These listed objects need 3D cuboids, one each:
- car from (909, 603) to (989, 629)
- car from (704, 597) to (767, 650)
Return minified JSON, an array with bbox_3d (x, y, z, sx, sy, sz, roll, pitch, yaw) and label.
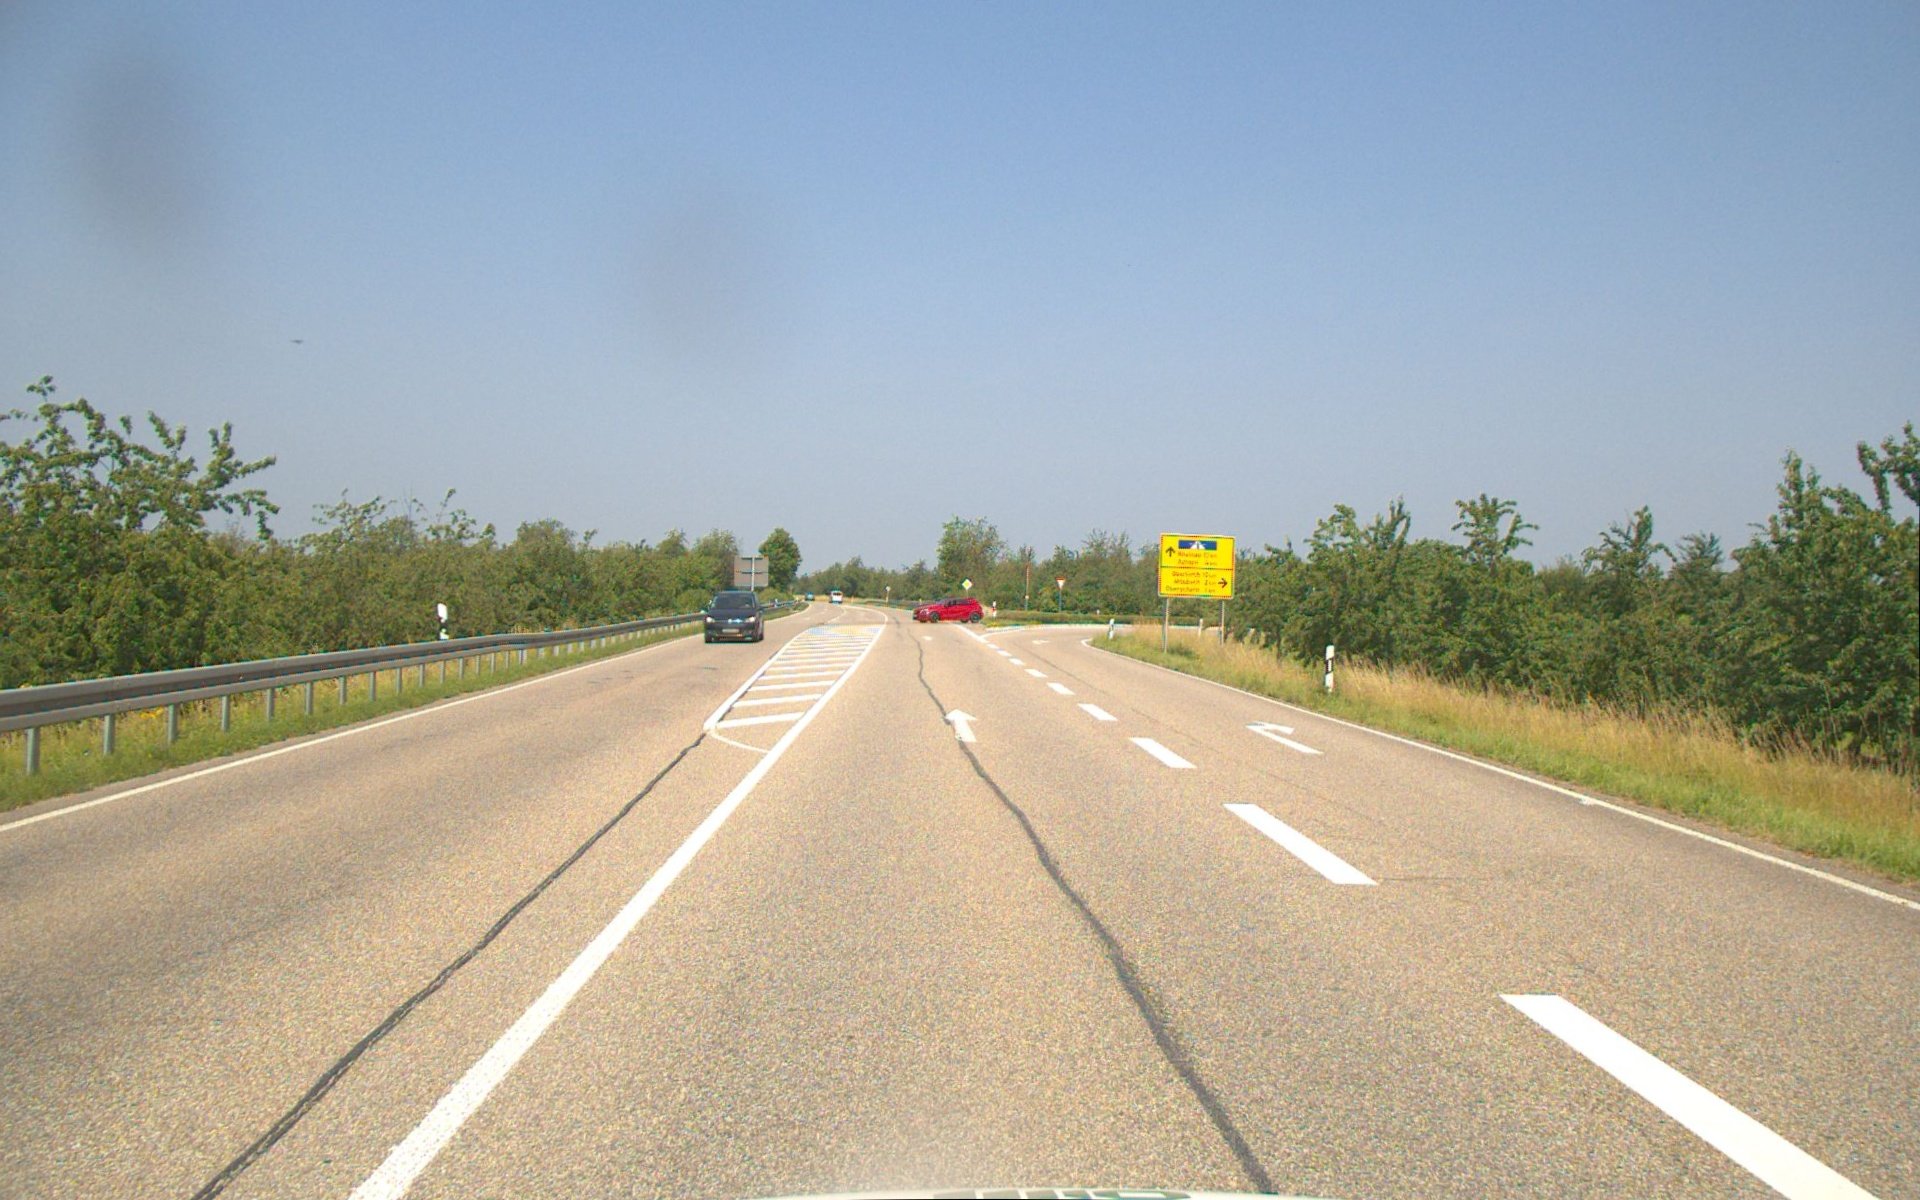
[{"bbox_3d":[-0.646,0.932,97.687,4.417,1.474,1.810,1,0,-22],"label":"car"},{"bbox_3d":[-7.380,0.752,54.694,1.768,1.666,4.805,0,0,-4],"label":"car"}]
